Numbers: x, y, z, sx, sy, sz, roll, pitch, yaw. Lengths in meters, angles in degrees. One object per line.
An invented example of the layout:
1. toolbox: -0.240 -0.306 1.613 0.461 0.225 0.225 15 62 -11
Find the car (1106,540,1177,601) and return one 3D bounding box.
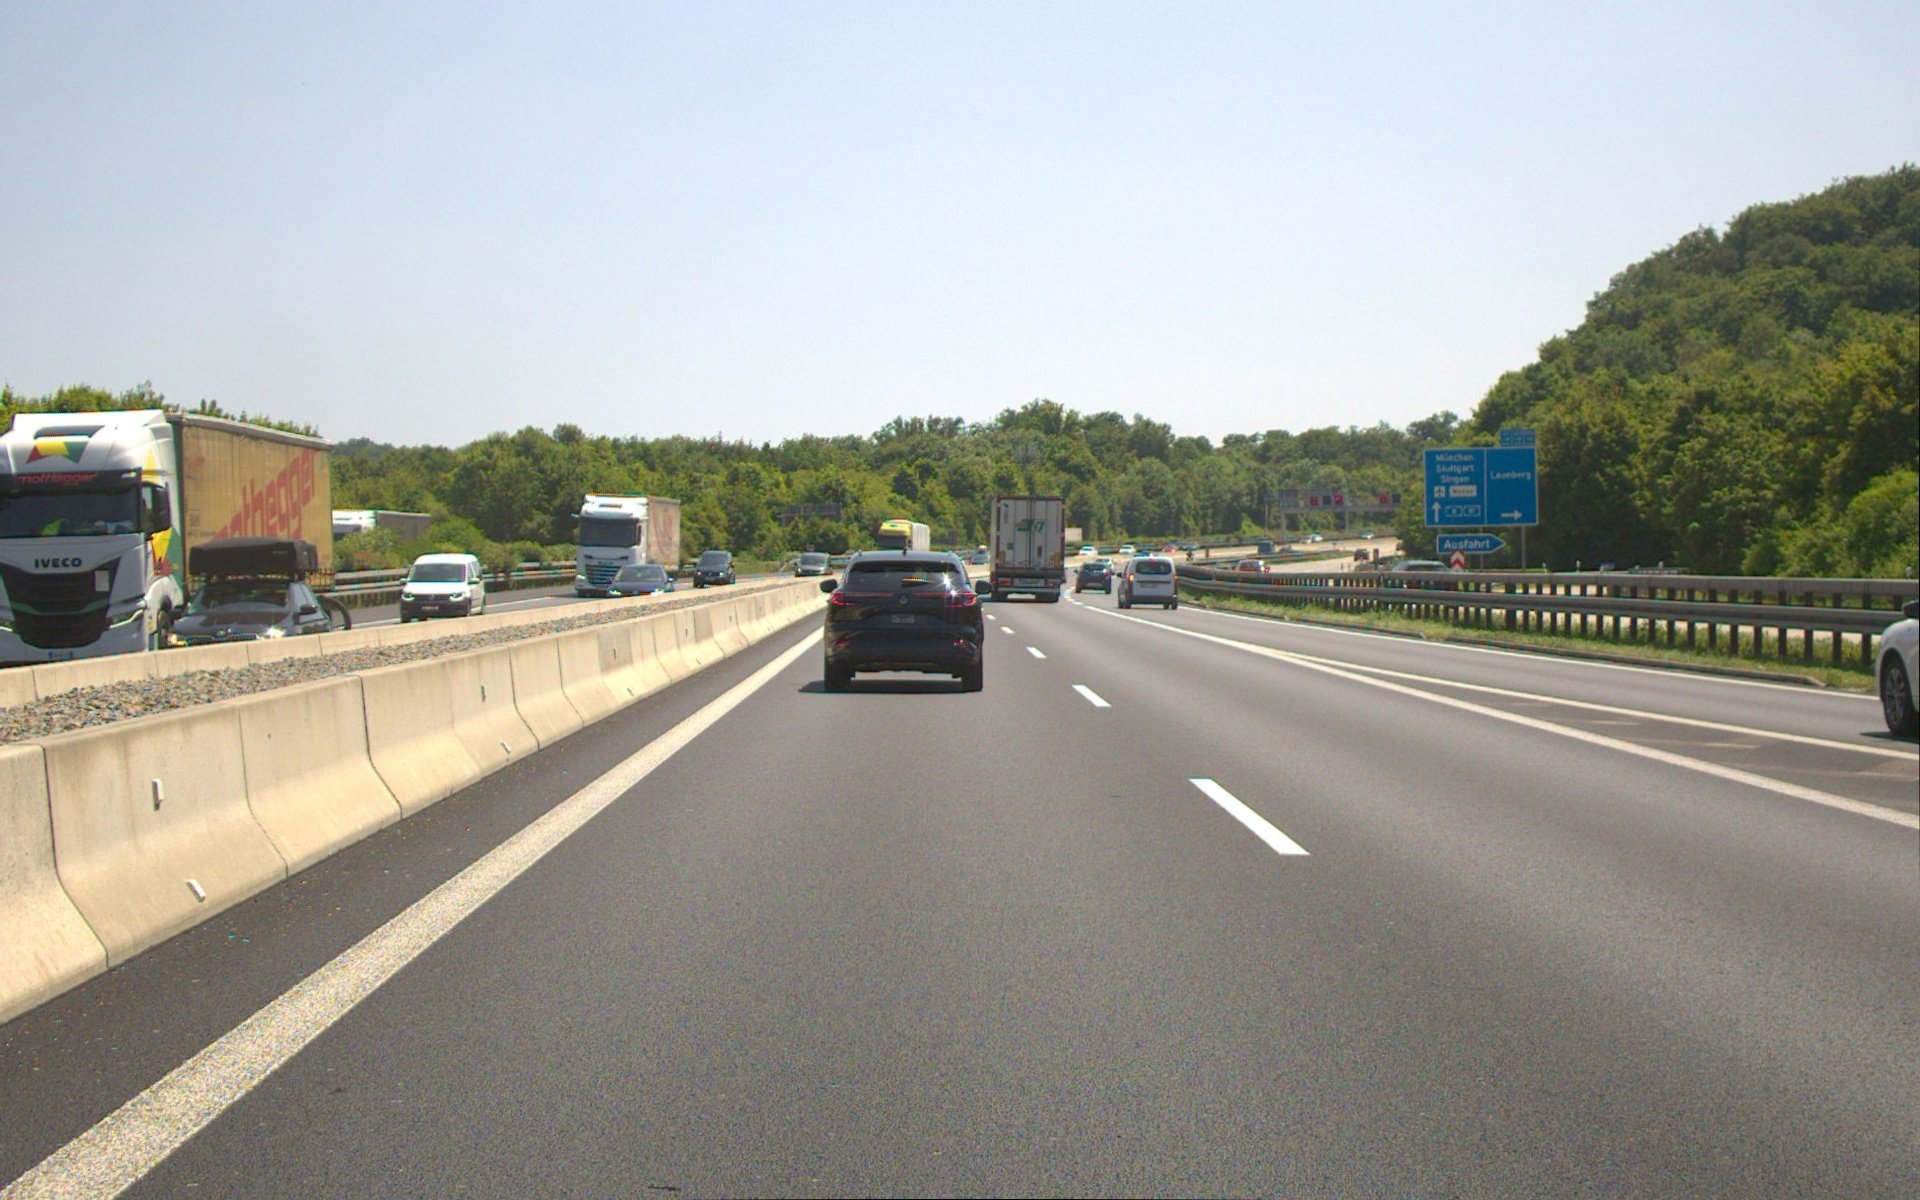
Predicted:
1. car: 6.250 -1.018 119.010 1.993 2.007 4.000 -2 1 -3

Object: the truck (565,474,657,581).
1. truck: -13.275 -2.728 131.145 2.928 3.959 5.898 1 0 -1

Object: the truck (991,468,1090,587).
1. truck: 3.227 -2.759 134.528 3.032 4.403 12.016 1 0 5

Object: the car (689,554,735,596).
1. car: -12.355 -1.254 171.231 1.993 2.007 4.485 1 0 -1

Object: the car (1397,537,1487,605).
1. car: 14.709 -0.906 105.044 1.993 2.007 4.001 -1 1 -2

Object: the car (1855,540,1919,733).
1. car: 9.279 0.332 28.930 1.993 1.656 4.468 1 0 -5

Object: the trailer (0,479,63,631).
1. trailer: -29.260 -1.338 100.962 2.794 4.418 11.654 1 0 0

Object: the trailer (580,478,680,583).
1. trailer: -13.326 -2.732 139.667 2.910 4.031 12.064 1 0 0

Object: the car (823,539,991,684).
1. car: -0.670 0.097 40.186 1.779 1.572 4.001 -1 1 -3

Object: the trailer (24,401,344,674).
1. trailer: -13.481 -1.037 61.166 2.667 4.258 13.815 1 0 -1

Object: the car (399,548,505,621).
1. car: -13.280 -0.407 90.130 1.742 1.820 4.903 1 0 3

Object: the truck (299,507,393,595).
1. truck: -29.051 -2.310 162.885 3.220 4.031 6.640 1 0 0

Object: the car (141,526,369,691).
1. car: -9.169 0.065 45.133 1.918 2.007 5.347 -1 1 -1

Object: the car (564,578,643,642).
1. car: -10.497 0.267 101.544 1.983 1.820 4.827 1 0 -2

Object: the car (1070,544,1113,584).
1. car: 6.834 -1.863 179.122 1.993 2.007 4.000 1 0 0

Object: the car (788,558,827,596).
1. car: -8.456 -1.270 190.782 2.051 2.007 4.955 1 0 -1

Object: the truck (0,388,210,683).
1. truck: -13.301 -0.967 52.510 2.706 4.273 4.553 1 0 -1
